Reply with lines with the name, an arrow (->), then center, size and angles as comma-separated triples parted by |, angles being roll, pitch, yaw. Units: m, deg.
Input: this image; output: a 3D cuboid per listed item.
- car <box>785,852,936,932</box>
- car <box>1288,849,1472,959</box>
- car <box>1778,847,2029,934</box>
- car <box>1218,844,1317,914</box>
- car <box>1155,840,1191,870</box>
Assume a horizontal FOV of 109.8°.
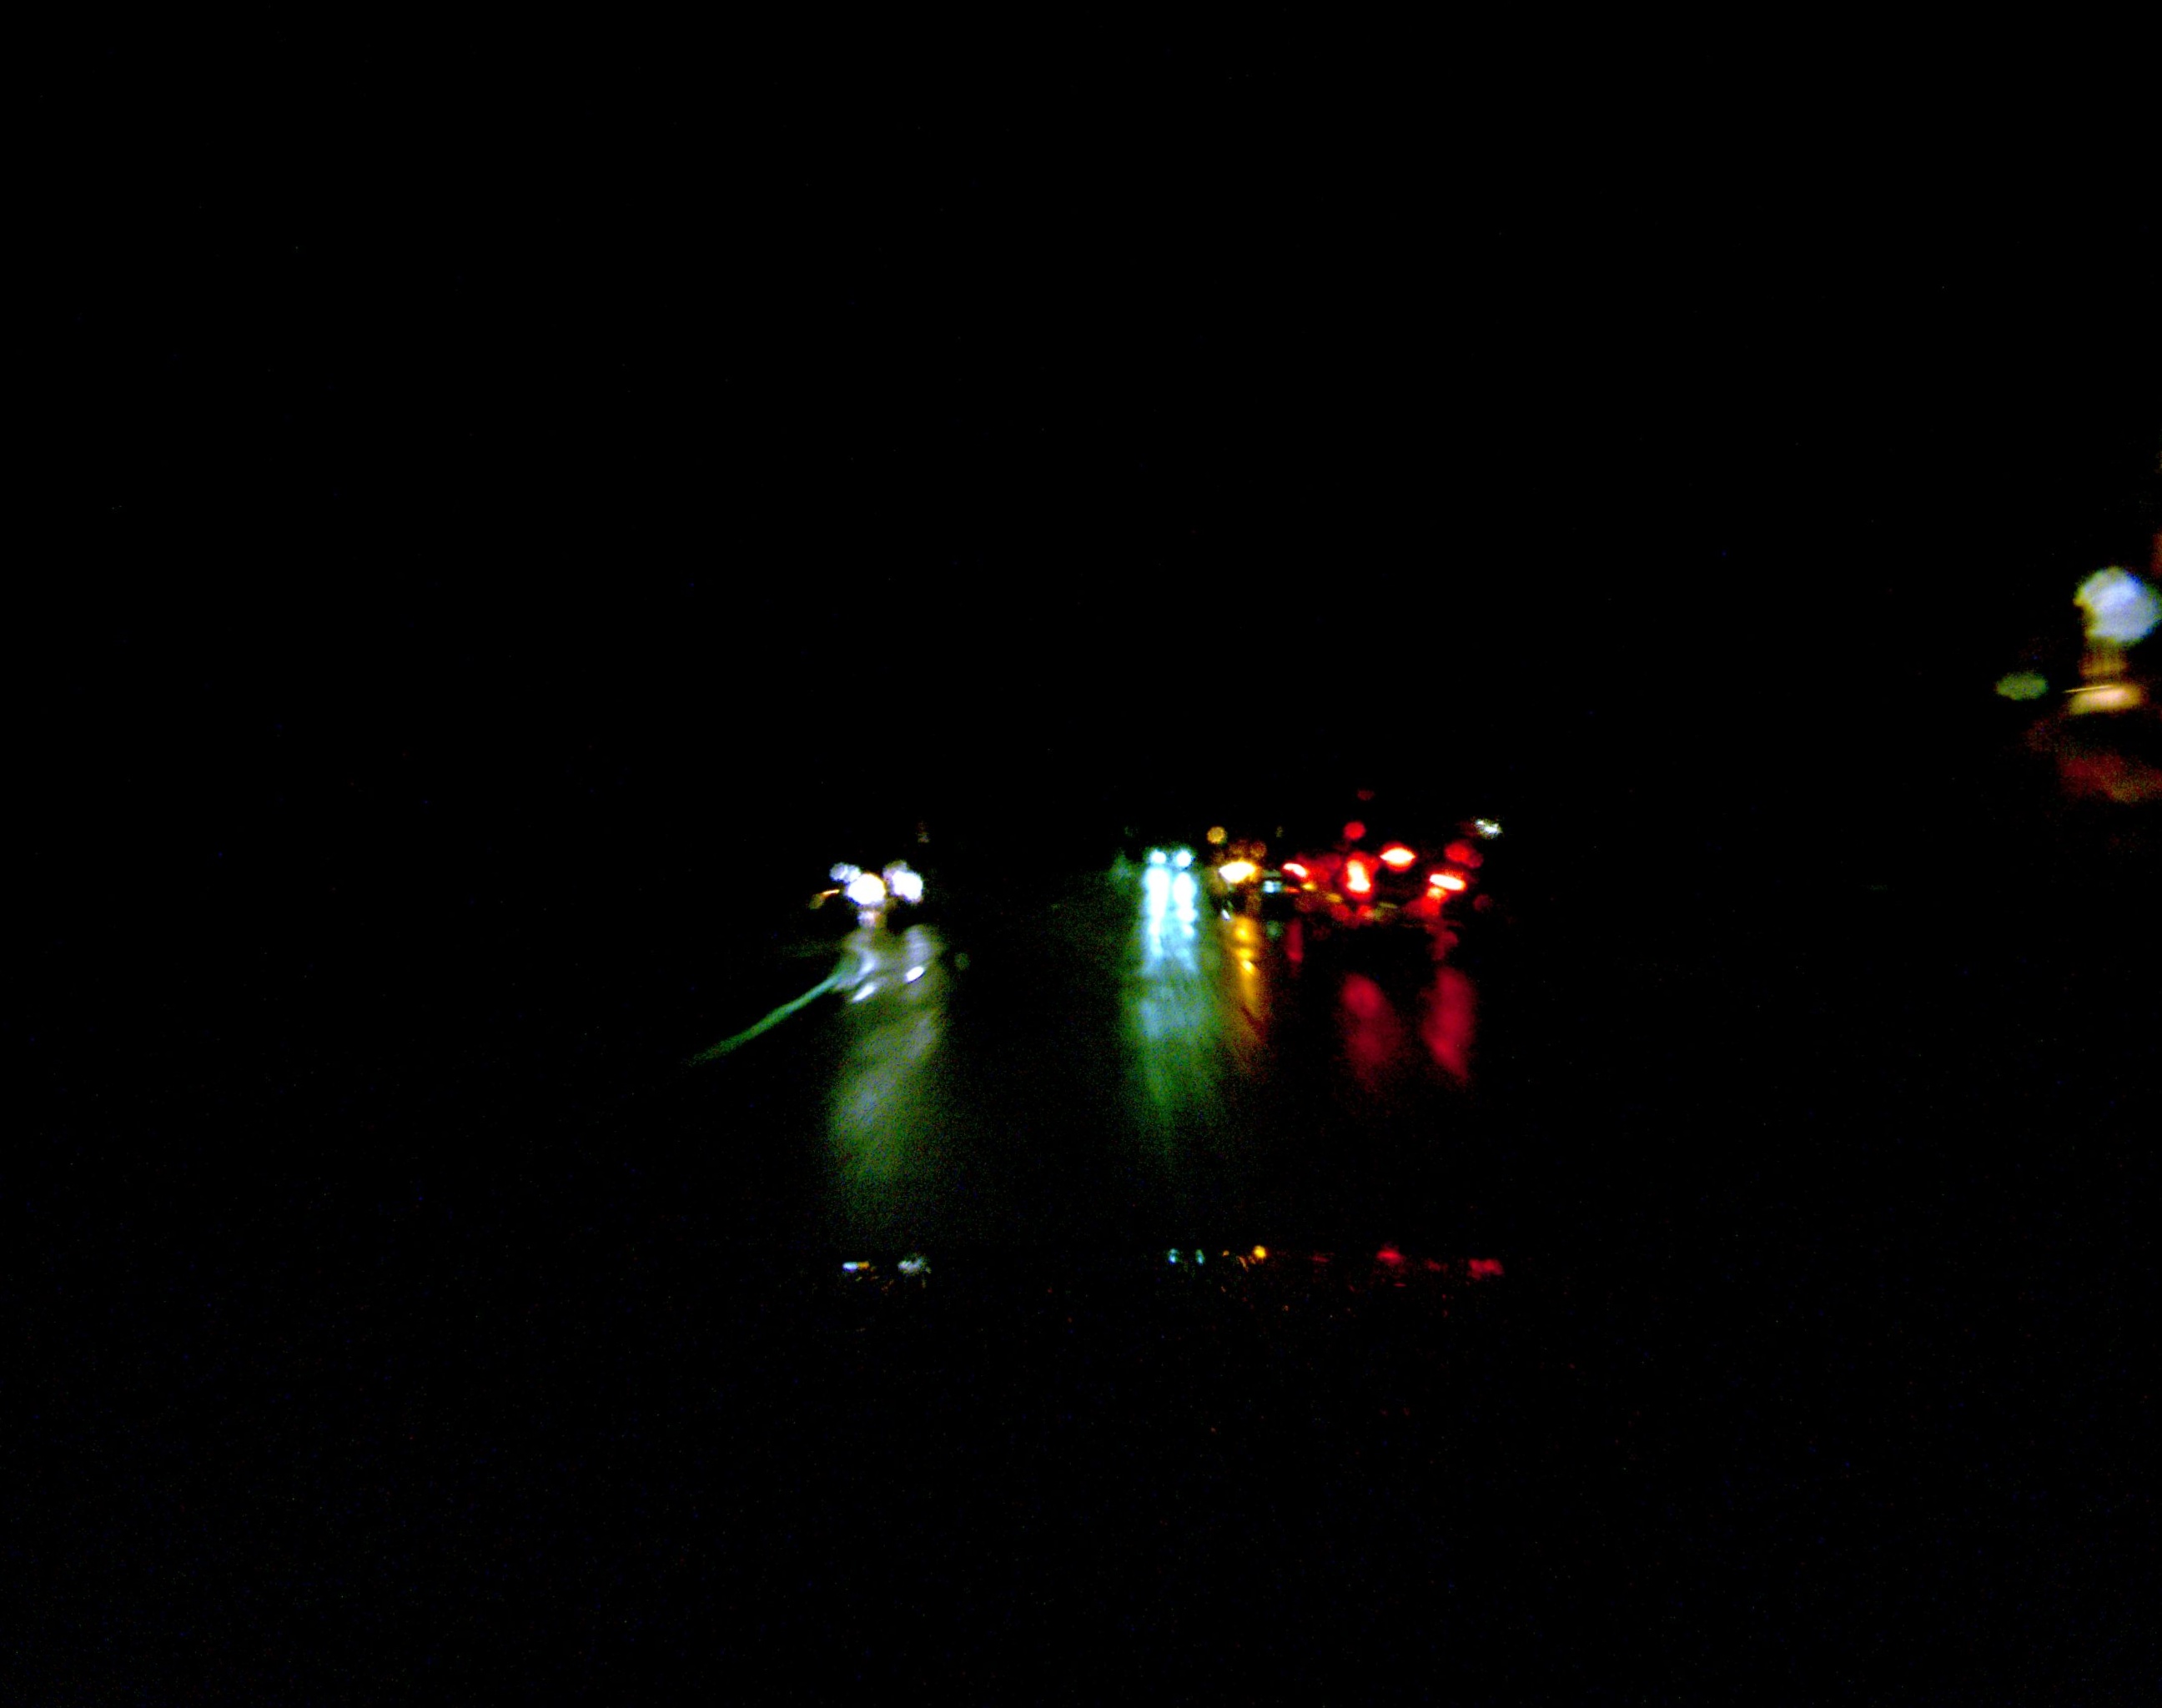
car -> -5.739, 0.868, 19.353 | 1.964, 1.682, 4.762 | -5, 2, -38
car -> 4.735, 0.700, 12.652 | 1.716, 1.467, 3.870 | -3, 0, 4
car -> 15.476, 0.577, 14.646 | 1.689, 1.390, 4.156 | 1, 1, 23
car -> 4.858, 0.570, 20.357 | 1.960, 1.513, 4.400 | -3, 2, 6
car -> 5.876, 0.028, 47.958 | 1.958, 1.712, 4.002 | -1, 2, 11
